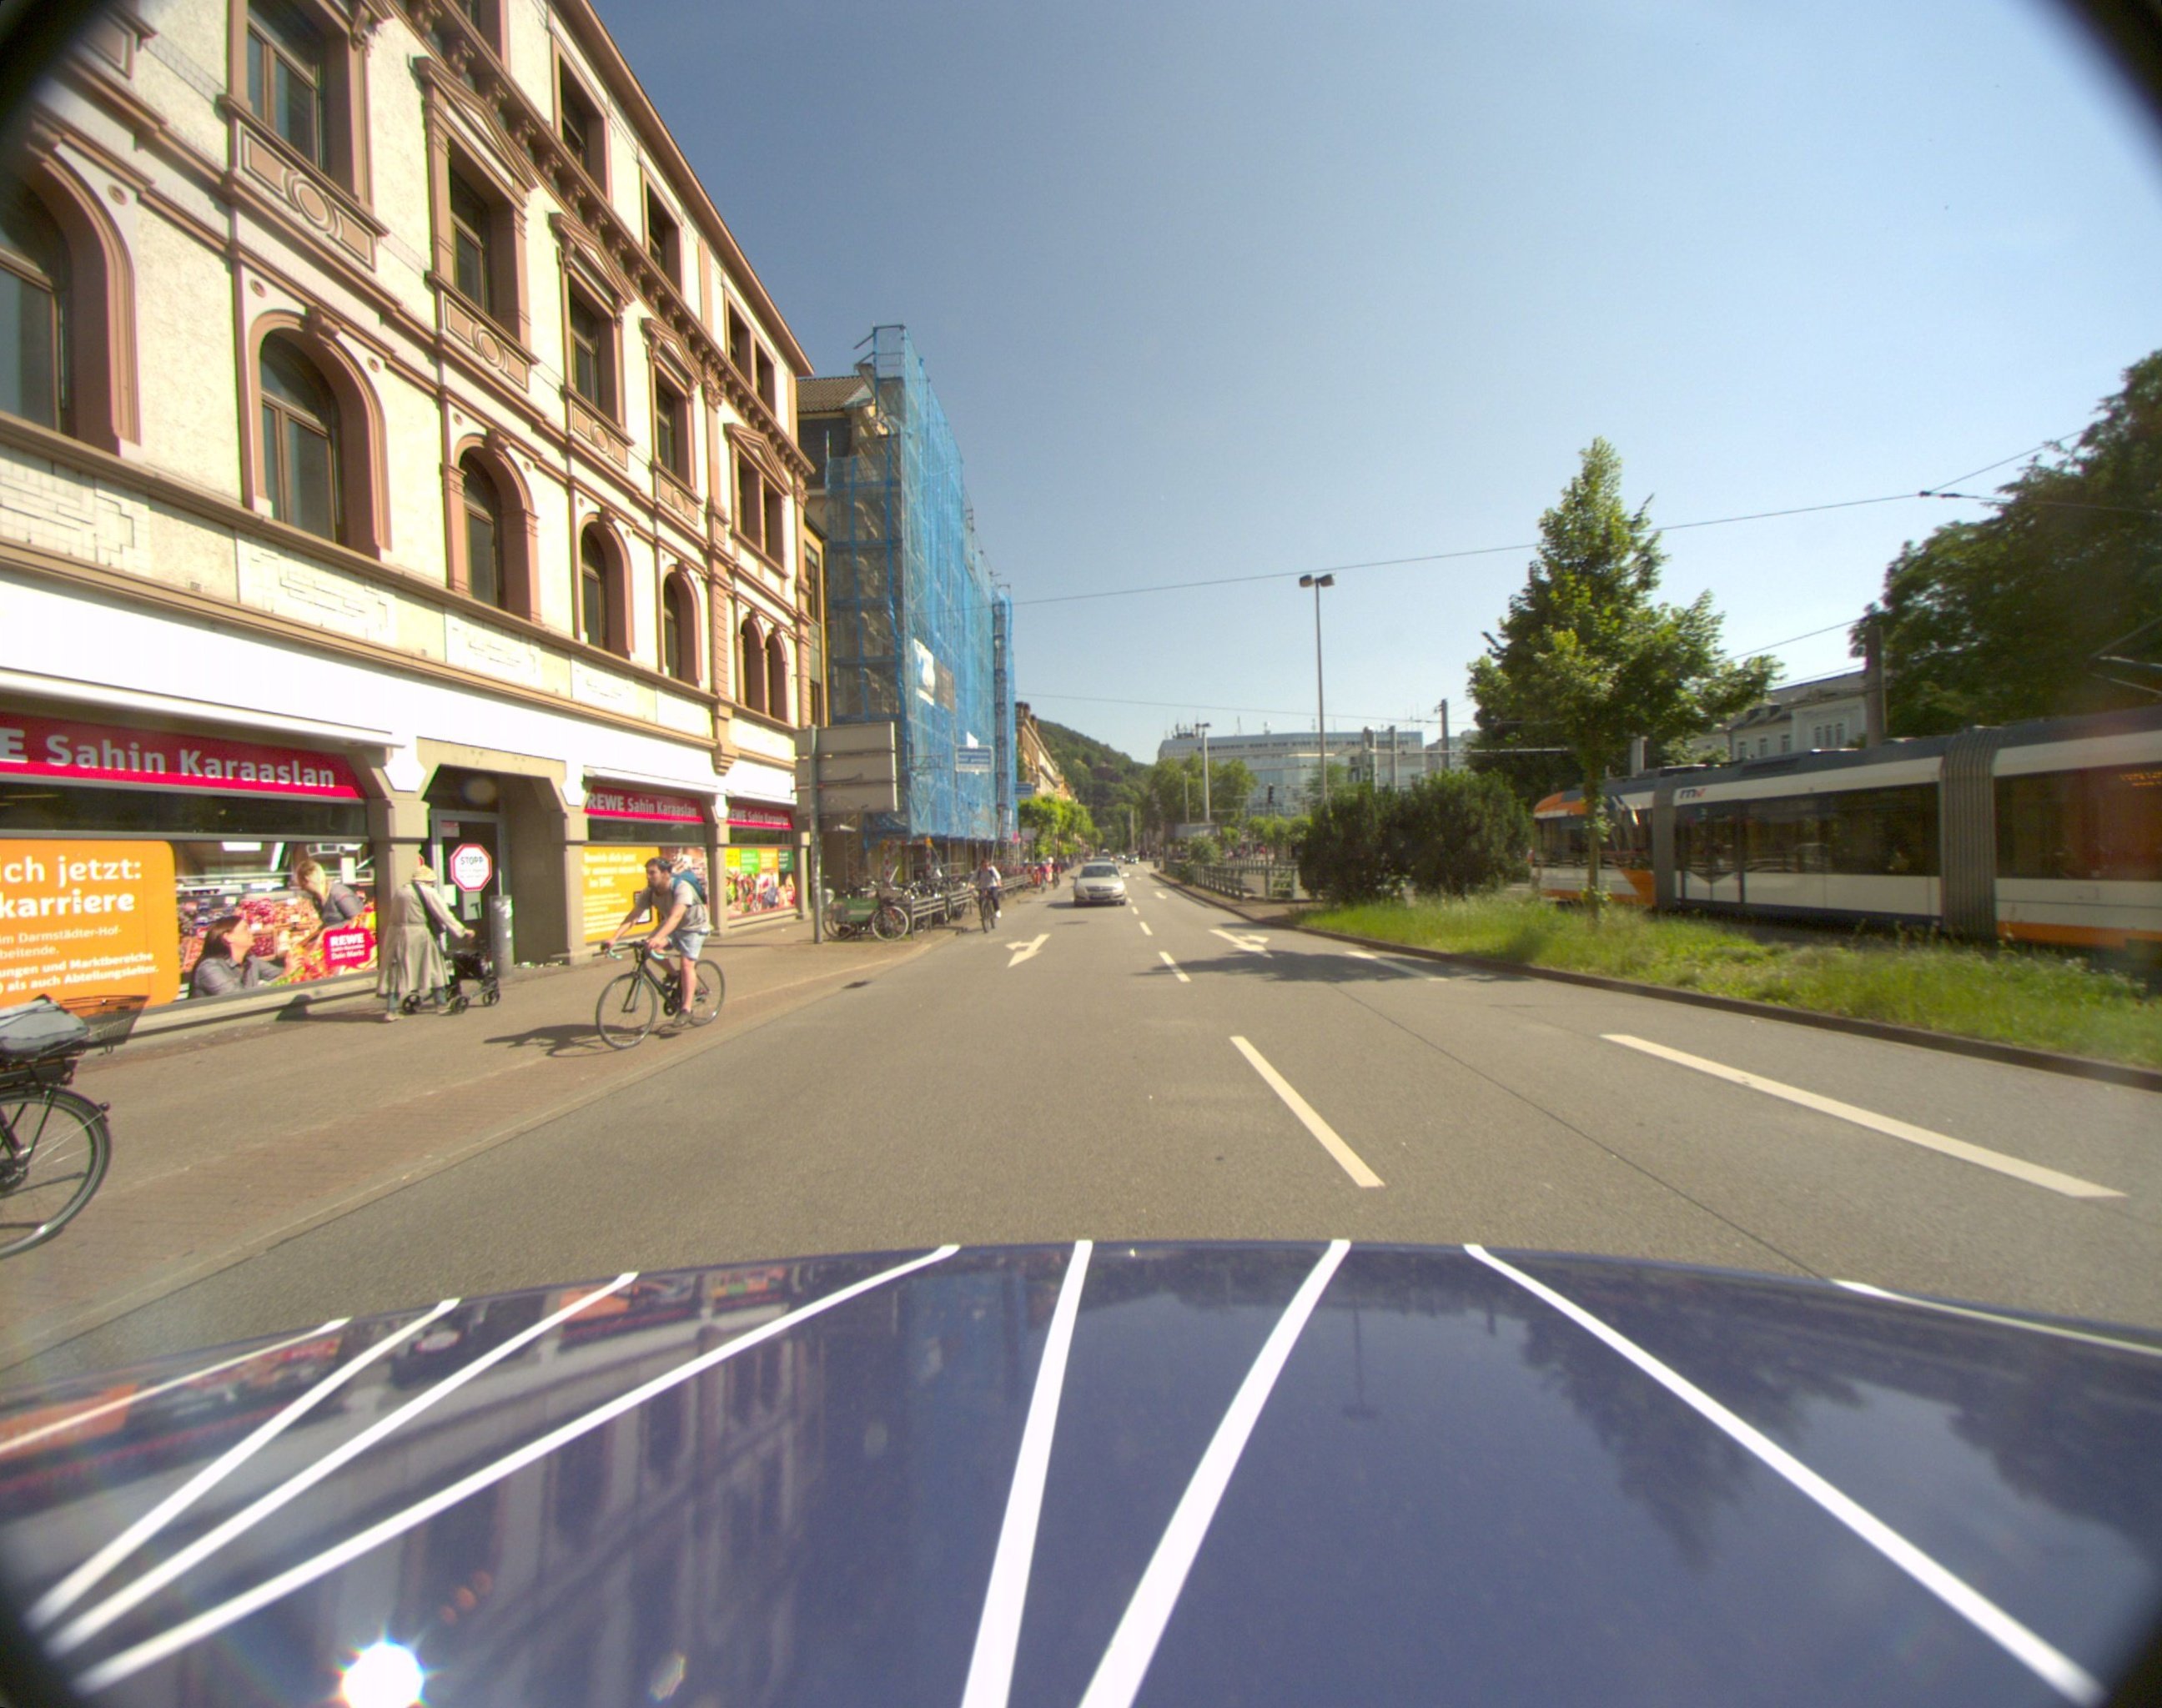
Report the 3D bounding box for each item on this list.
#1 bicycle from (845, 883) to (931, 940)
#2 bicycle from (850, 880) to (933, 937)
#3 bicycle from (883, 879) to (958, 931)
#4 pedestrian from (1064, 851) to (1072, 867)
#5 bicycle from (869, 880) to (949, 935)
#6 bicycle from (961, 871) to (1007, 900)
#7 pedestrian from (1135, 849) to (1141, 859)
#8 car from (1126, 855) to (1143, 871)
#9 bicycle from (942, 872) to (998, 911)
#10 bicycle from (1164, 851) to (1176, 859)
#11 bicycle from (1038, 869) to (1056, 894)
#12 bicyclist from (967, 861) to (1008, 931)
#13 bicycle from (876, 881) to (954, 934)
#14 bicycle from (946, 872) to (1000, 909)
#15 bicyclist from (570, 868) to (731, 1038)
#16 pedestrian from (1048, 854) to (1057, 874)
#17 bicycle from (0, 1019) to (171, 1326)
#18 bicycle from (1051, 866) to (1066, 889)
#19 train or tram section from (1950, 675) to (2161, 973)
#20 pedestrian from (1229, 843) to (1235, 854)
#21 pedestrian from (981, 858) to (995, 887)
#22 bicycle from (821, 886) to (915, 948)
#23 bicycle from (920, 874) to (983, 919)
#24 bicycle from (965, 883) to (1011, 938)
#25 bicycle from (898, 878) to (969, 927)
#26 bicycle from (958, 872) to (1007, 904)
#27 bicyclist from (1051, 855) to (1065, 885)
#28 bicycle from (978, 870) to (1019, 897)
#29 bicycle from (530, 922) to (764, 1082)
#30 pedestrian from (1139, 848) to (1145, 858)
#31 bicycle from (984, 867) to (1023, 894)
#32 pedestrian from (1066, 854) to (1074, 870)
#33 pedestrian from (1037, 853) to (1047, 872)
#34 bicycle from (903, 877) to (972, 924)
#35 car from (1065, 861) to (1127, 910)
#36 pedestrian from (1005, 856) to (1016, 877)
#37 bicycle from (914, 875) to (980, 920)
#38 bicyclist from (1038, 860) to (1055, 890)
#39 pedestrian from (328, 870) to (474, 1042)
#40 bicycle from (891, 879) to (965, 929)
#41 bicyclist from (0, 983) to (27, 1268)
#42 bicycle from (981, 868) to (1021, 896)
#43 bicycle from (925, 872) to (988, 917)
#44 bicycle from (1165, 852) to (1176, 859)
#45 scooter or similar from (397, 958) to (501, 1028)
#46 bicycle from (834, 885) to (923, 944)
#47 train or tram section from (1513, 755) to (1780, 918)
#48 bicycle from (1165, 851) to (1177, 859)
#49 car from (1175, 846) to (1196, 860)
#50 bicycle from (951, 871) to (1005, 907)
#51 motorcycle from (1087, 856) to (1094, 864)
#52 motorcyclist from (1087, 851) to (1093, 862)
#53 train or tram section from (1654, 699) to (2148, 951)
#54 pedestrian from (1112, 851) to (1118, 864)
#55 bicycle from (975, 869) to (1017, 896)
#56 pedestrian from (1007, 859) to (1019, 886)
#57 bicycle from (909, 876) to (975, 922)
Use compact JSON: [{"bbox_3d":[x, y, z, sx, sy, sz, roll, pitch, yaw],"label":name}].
[{"bbox_3d":[-4.199,1.245,16.623,1.697,1.172,0.609,-1,0,3],"label":"bicycle"},{"bbox_3d":[-4.294,1.224,17.224,1.697,1.172,0.470,-3,1,3],"label":"bicycle"},{"bbox_3d":[-3.976,1.267,18.882,1.697,1.172,0.459,-3,1,3],"label":"bicycle"},{"bbox_3d":[-1.297,0.477,76.512,0.697,1.617,0.701,-1,1,-11],"label":"pedestrian"},{"bbox_3d":[-4.005,1.247,17.725,1.697,1.172,0.470,-3,1,3],"label":"bicycle"},{"bbox_3d":[-4.019,1.287,31.432,1.743,1.103,0.608,-3,1,3],"label":"bicycle"},{"bbox_3d":[10.727,-0.035,142.673,0.876,1.737,0.733,-3,1,1],"label":"pedestrian"},{"bbox_3d":[7.471,1.238,105.973,1.998,2.002,3.999,-4,1,1],"label":"car"},{"bbox_3d":[-3.728,1.255,25.555,1.697,1.172,0.608,-3,1,3],"label":"bicycle"},{"bbox_3d":[14.173,0.184,121.322,1.865,1.140,0.483,-2,1,0],"label":"bicycle"},{"bbox_3d":[-1.632,1.305,36.685,0.736,1.086,1.819,-3,0,1],"label":"bicycle"},{"bbox_3d":[-2.195,0.983,17.963,0.750,1.567,0.778,-4,1,1],"label":"bicyclist"},{"bbox_3d":[-3.987,1.279,18.305,1.697,1.172,0.460,-3,1,3],"label":"bicycle"},{"bbox_3d":[-3.730,1.251,26.294,1.697,1.172,0.608,-3,1,3],"label":"bicycle"},{"bbox_3d":[-4.101,0.902,7.335,0.689,1.454,1.143,-4,1,9],"label":"bicyclist"},{"bbox_3d":[-2.479,0.877,66.118,0.658,1.673,0.652,-2,2,-12],"label":"pedestrian"},{"bbox_3d":[-4.660,1.329,2.545,0.735,1.086,1.912,-4,1,7],"label":"bicycle"},{"bbox_3d":[-1.209,1.253,40.878,0.667,1.086,1.897,-4,1,0],"label":"bicycle"},{"bbox_3d":[14.176,-0.424,8.530,2.619,3.560,5.357,-4,0,2],"label":"train or tram section"},{"bbox_3d":[21.145,-0.755,106.146,0.626,1.457,0.552,0,0,-20],"label":"pedestrian"},{"bbox_3d":[-5.224,1.035,42.788,0.645,1.592,0.765,-4,1,-4],"label":"pedestrian"},{"bbox_3d":[-4.284,1.266,15.339,1.697,1.172,0.609,-1,0,3],"label":"bicycle"},{"bbox_3d":[-3.754,1.228,22.082,1.697,1.172,0.497,-3,1,3],"label":"bicycle"},{"bbox_3d":[-2.168,1.299,17.963,0.736,1.086,1.897,-4,1,1],"label":"bicycle"},{"bbox_3d":[-3.872,1.261,19.984,1.697,1.172,0.457,-3,1,3],"label":"bicycle"},{"bbox_3d":[-3.721,1.282,28.738,1.697,1.081,0.608,-3,1,3],"label":"bicycle"},{"bbox_3d":[-1.236,0.865,40.962,0.690,1.567,0.778,-4,1,-1],"label":"bicyclist"},{"bbox_3d":[-3.691,1.315,34.229,1.697,1.091,0.608,-3,1,3],"label":"bicycle"},{"bbox_3d":[-4.066,1.337,7.390,0.735,1.086,2.132,-4,1,9],"label":"bicycle"},{"bbox_3d":[10.564,-0.184,131.998,0.537,1.773,0.745,-3,1,37],"label":"pedestrian"},{"bbox_3d":[-3.638,1.233,35.634,1.697,1.172,0.608,-3,1,3],"label":"bicycle"},{"bbox_3d":[-1.097,0.789,75.515,0.601,1.617,0.643,1,1,-10],"label":"pedestrian"},{"bbox_3d":[-3.905,0.858,75.540,0.816,1.838,0.892,0,2,10],"label":"pedestrian"},{"bbox_3d":[-3.862,1.252,20.503,1.697,1.172,0.463,-3,1,3],"label":"bicycle"},{"bbox_3d":[0.577,0.995,25.691,1.917,1.401,4.000,-1,1,3],"label":"car"},{"bbox_3d":[-5.925,1.029,63.554,0.669,1.771,0.985,-1,1,7],"label":"pedestrian"},{"bbox_3d":[-3.793,1.230,21.530,1.697,1.172,0.490,-3,1,3],"label":"bicycle"},{"bbox_3d":[-1.669,1.000,36.661,0.690,1.388,0.778,-4,1,1],"label":"bicyclist"},{"bbox_3d":[-7.048,1.019,7.923,0.757,1.646,0.837,2,2,1],"label":"pedestrian"},{"bbox_3d":[-3.905,1.279,19.444,1.697,1.172,0.514,-3,1,3],"label":"bicycle"},{"bbox_3d":[-4.672,0.850,2.608,0.690,1.607,0.918,-4,1,6],"label":"bicyclist"},{"bbox_3d":[-3.668,1.264,34.951,1.697,1.172,0.608,-3,1,3],"label":"bicycle"},{"bbox_3d":[-3.714,1.206,22.681,1.697,1.234,0.608,-3,1,3],"label":"bicycle"},{"bbox_3d":[14.169,0.249,120.529,1.757,1.140,0.483,-2,1,0],"label":"bicycle"},{"bbox_3d":[-7.043,1.539,8.486,0.692,0.646,0.565,2,1,1],"label":"scooter or similar"},{"bbox_3d":[-4.239,1.259,15.970,1.697,1.172,0.609,0,0,3],"label":"bicycle"},{"bbox_3d":[14.618,-0.434,20.365,2.620,3.560,6.103,-4,1,2],"label":"train or tram section"},{"bbox_3d":[14.160,0.208,120.025,1.757,1.140,0.483,-2,1,0],"label":"bicycle"},{"bbox_3d":[17.155,-0.170,124.850,1.995,2.002,5.074,-3,1,24],"label":"car"},{"bbox_3d":[-3.670,1.244,27.119,1.775,1.172,0.608,-3,1,3],"label":"bicycle"},{"bbox_3d":[1.317,0.788,104.704,0.736,1.086,1.898,-4,1,3],"label":"motorcycle"},{"bbox_3d":[1.296,0.330,104.768,0.736,1.446,0.707,-4,1,3],"label":"motorcyclist"},{"bbox_3d":[14.394,-0.419,14.263,2.619,3.560,6.104,-4,0,2],"label":"train or tram section"},{"bbox_3d":[4.498,0.429,101.155,0.699,1.775,0.578,-1,1,-3],"label":"pedestrian"},{"bbox_3d":[-3.748,1.267,33.476,1.697,1.091,0.608,-3,1,3],"label":"bicycle"},{"bbox_3d":[-4.563,1.243,50.882,0.641,1.766,0.649,-4,1,2],"label":"pedestrian"},{"bbox_3d":[-3.835,1.233,21.002,1.697,1.172,0.451,-3,1,3],"label":"bicycle"}]
